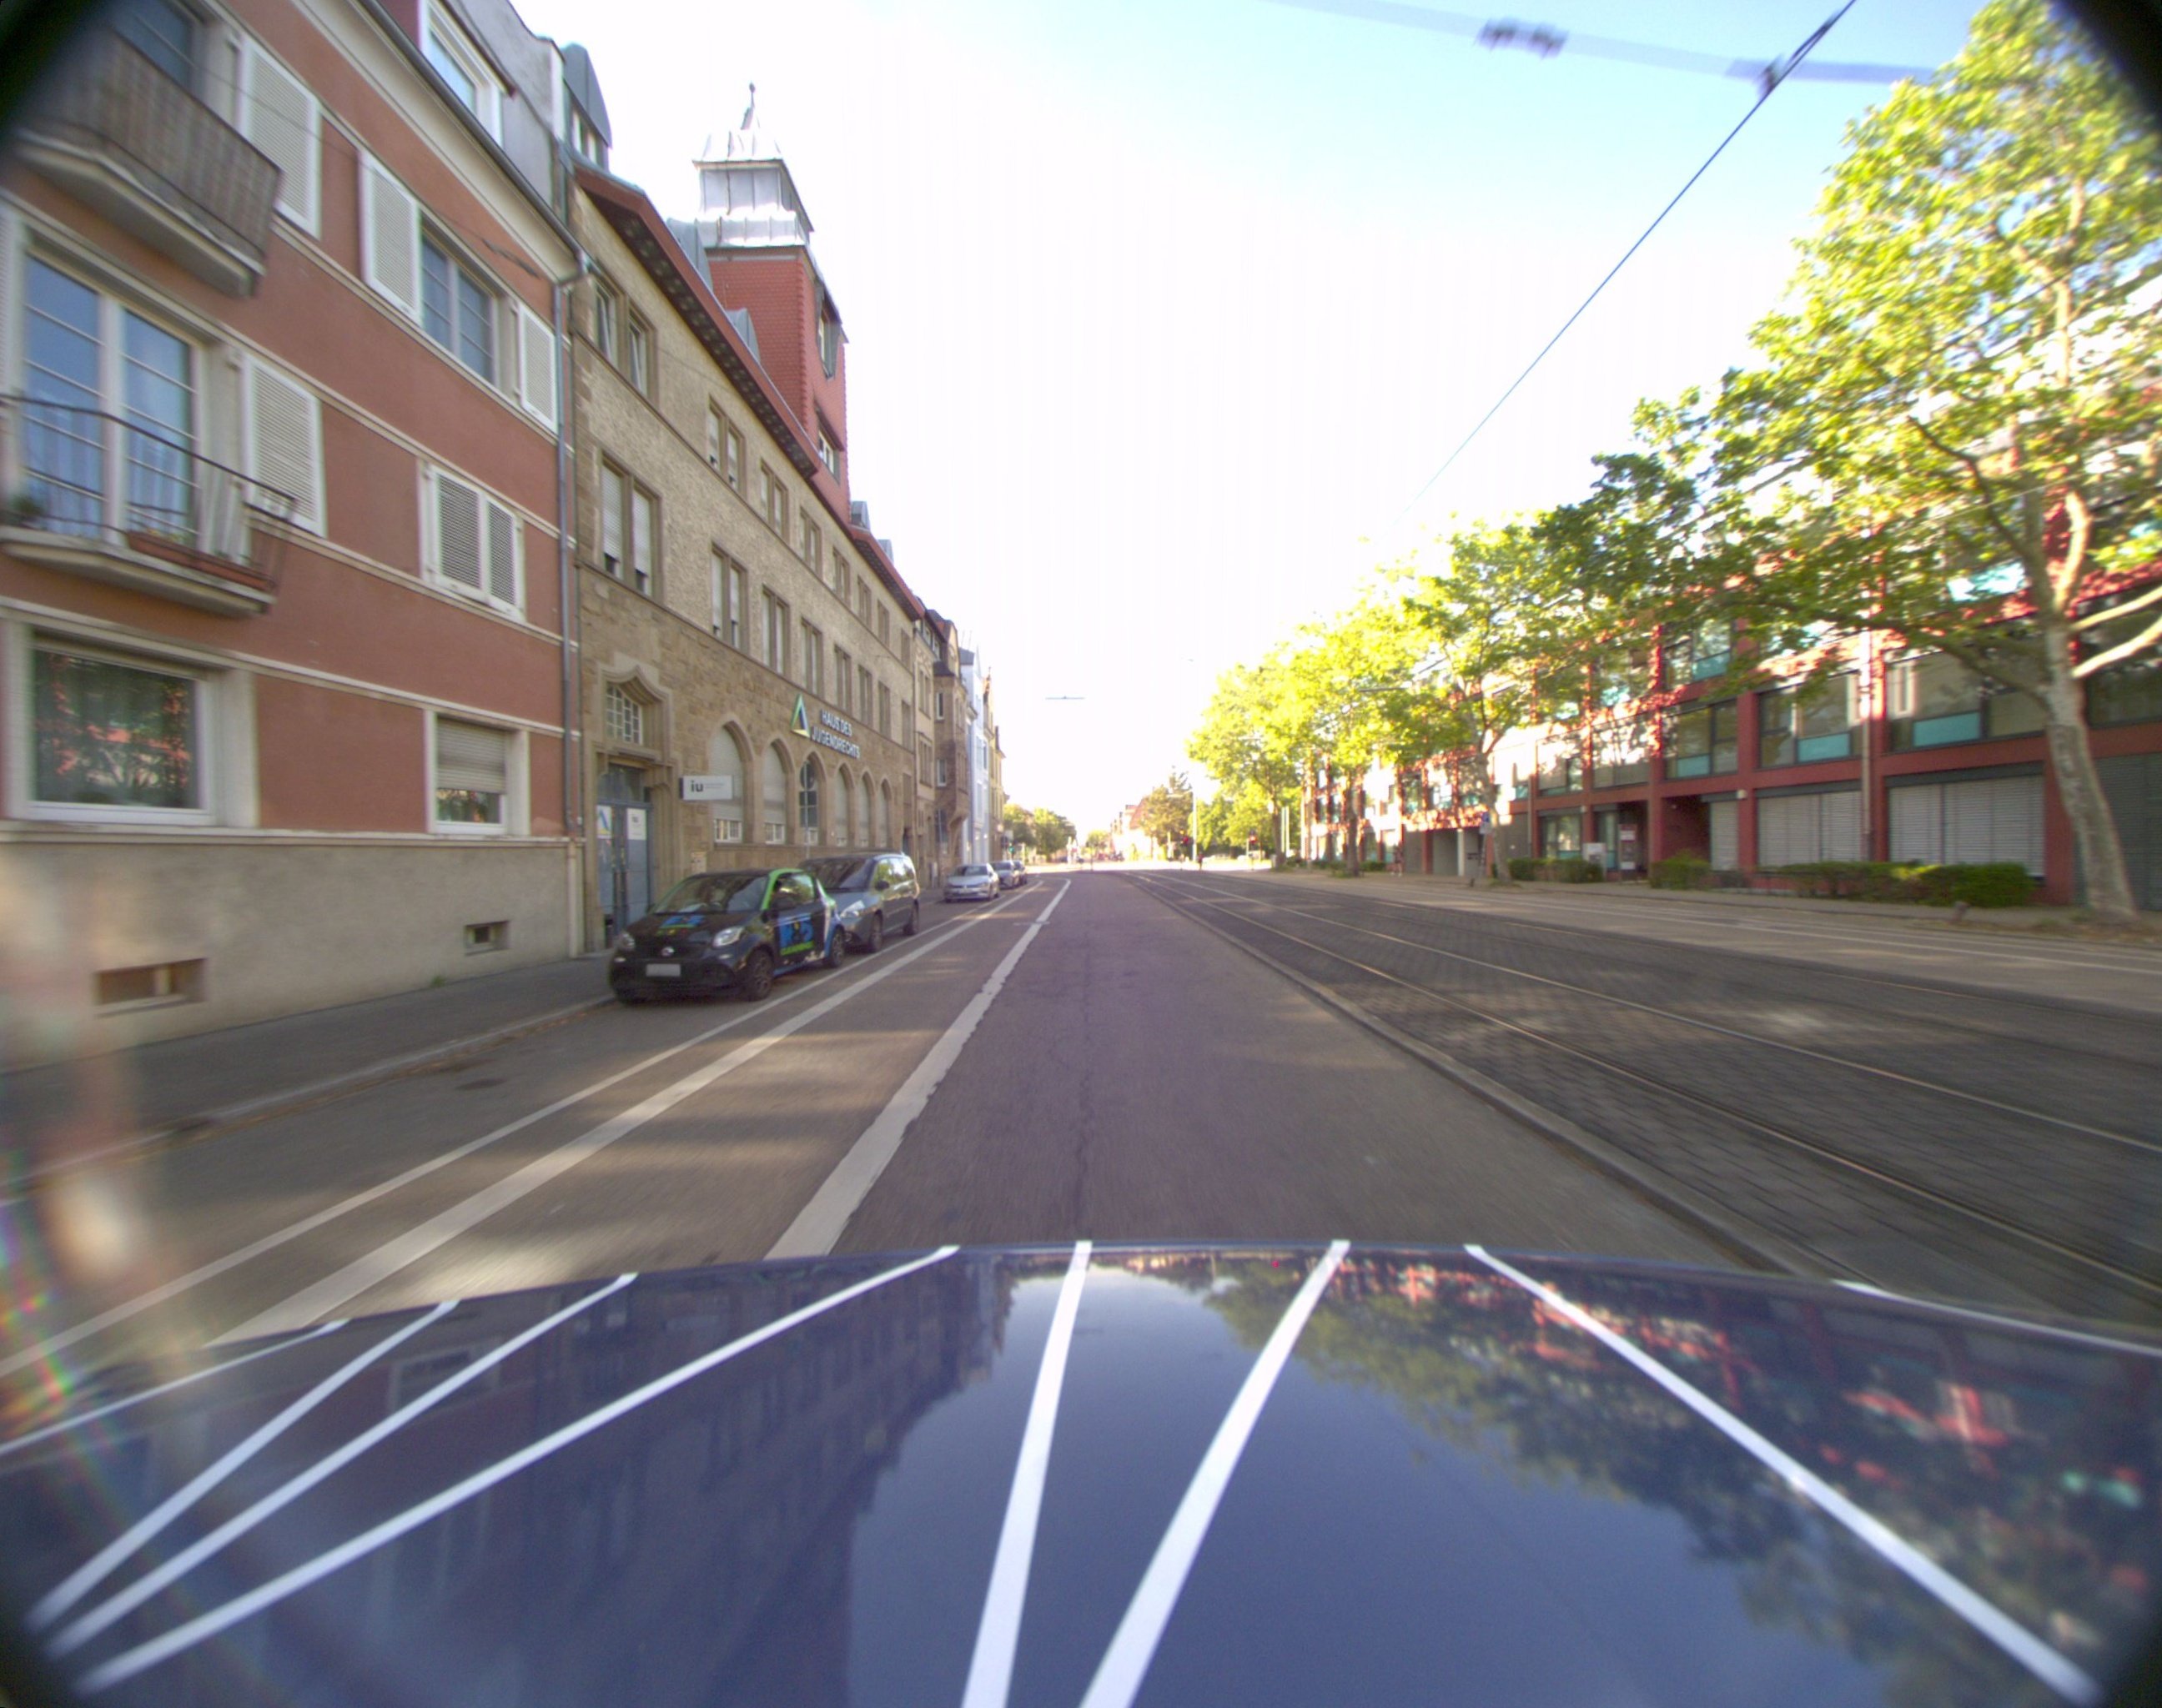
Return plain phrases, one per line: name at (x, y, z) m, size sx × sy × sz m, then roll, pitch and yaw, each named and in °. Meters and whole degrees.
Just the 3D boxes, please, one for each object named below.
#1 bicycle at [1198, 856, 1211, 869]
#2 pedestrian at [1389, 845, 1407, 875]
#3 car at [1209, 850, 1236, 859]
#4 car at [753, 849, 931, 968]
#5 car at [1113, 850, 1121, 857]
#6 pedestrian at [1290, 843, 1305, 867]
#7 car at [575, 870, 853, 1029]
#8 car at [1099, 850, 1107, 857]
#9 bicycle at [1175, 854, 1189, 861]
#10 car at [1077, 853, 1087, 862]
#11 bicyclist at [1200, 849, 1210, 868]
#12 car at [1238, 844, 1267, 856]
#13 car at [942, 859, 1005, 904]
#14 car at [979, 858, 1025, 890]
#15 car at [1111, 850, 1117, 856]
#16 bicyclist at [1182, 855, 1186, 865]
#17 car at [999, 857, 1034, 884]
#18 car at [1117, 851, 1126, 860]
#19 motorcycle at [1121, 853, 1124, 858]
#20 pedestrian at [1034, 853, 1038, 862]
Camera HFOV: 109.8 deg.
bicycle at (11.647, 0.837, 71.438) m, size 0.632 × 1.122 × 2.040 m, roll -2°, pitch -4°, yaw 26°
pedestrian at (18.720, 0.346, 44.925) m, size 0.627 × 1.708 × 0.900 m, roll -3°, pitch 1°, yaw 0°
car at (22.710, 0.104, 122.021) m, size 3.995 × 1.425 × 1.817 m, roll -1°, pitch 0°, yaw 6°
car at (-4.292, 0.859, 14.519) m, size 1.757 × 1.844 × 4.815 m, roll -2°, pitch 0°, yaw 1°
car at (9.625, -0.077, 204.272) m, size 1.924 × 1.705 × 4.000 m, roll -3°, pitch 0°, yaw 1°
pedestrian at (18.567, 0.082, 65.211) m, size 0.913 × 2.002 × 0.780 m, roll -3°, pitch 0°, yaw -8°
car at (-4.431, 1.054, 9.877) m, size 1.635 × 1.502 × 3.717 m, roll -3°, pitch 0°, yaw 2°
car at (6.091, -0.171, 211.955) m, size 2.024 × 2.001 × 5.252 m, roll 0°, pitch -1°, yaw 3°
bicycle at (16.378, 0.517, 122.845) m, size 2.284 × 1.111 × 0.930 m, roll -1°, pitch 1°, yaw 8°
car at (0.207, 0.692, 162.372) m, size 1.923 × 1.705 × 4.001 m, roll -3°, pitch 0°, yaw 3°
bicyclist at (11.614, 0.424, 71.413) m, size 0.605 × 1.682 × 0.934 m, roll -3°, pitch 0°, yaw 26°
car at (28.005, -0.679, 124.367) m, size 4.311 × 1.856 × 1.817 m, roll -1°, pitch -1°, yaw 3°
car at (-4.107, 1.000, 29.549) m, size 1.718 × 1.492 × 4.226 m, roll -3°, pitch 0°, yaw 1°
car at (-4.078, 1.003, 39.740) m, size 1.757 × 1.492 × 4.196 m, roll -3°, pitch 0°, yaw 2°
car at (10.208, -0.269, 234.035) m, size 1.924 × 1.705 × 4.001 m, roll -3°, pitch 0°, yaw 2°
bicyclist at (16.622, 0.965, 122.827) m, size 0.559 × 1.613 × 0.899 m, roll -1°, pitch 1°, yaw 8°
car at (-3.801, 0.945, 45.279) m, size 1.659 × 1.474 × 4.000 m, roll -2°, pitch 0°, yaw 0°
car at (9.754, 0.346, 183.387) m, size 1.923 × 1.890 × 4.001 m, roll -3°, pitch 0°, yaw 3°
motorcycle at (9.148, 0.347, 168.661) m, size 0.605 × 1.040 × 2.437 m, roll -3°, pitch 0°, yaw 3°
pedestrian at (-7.999, 0.576, 134.720) m, size 0.655 × 1.664 × 0.943 m, roll 0°, pitch 1°, yaw 3°
